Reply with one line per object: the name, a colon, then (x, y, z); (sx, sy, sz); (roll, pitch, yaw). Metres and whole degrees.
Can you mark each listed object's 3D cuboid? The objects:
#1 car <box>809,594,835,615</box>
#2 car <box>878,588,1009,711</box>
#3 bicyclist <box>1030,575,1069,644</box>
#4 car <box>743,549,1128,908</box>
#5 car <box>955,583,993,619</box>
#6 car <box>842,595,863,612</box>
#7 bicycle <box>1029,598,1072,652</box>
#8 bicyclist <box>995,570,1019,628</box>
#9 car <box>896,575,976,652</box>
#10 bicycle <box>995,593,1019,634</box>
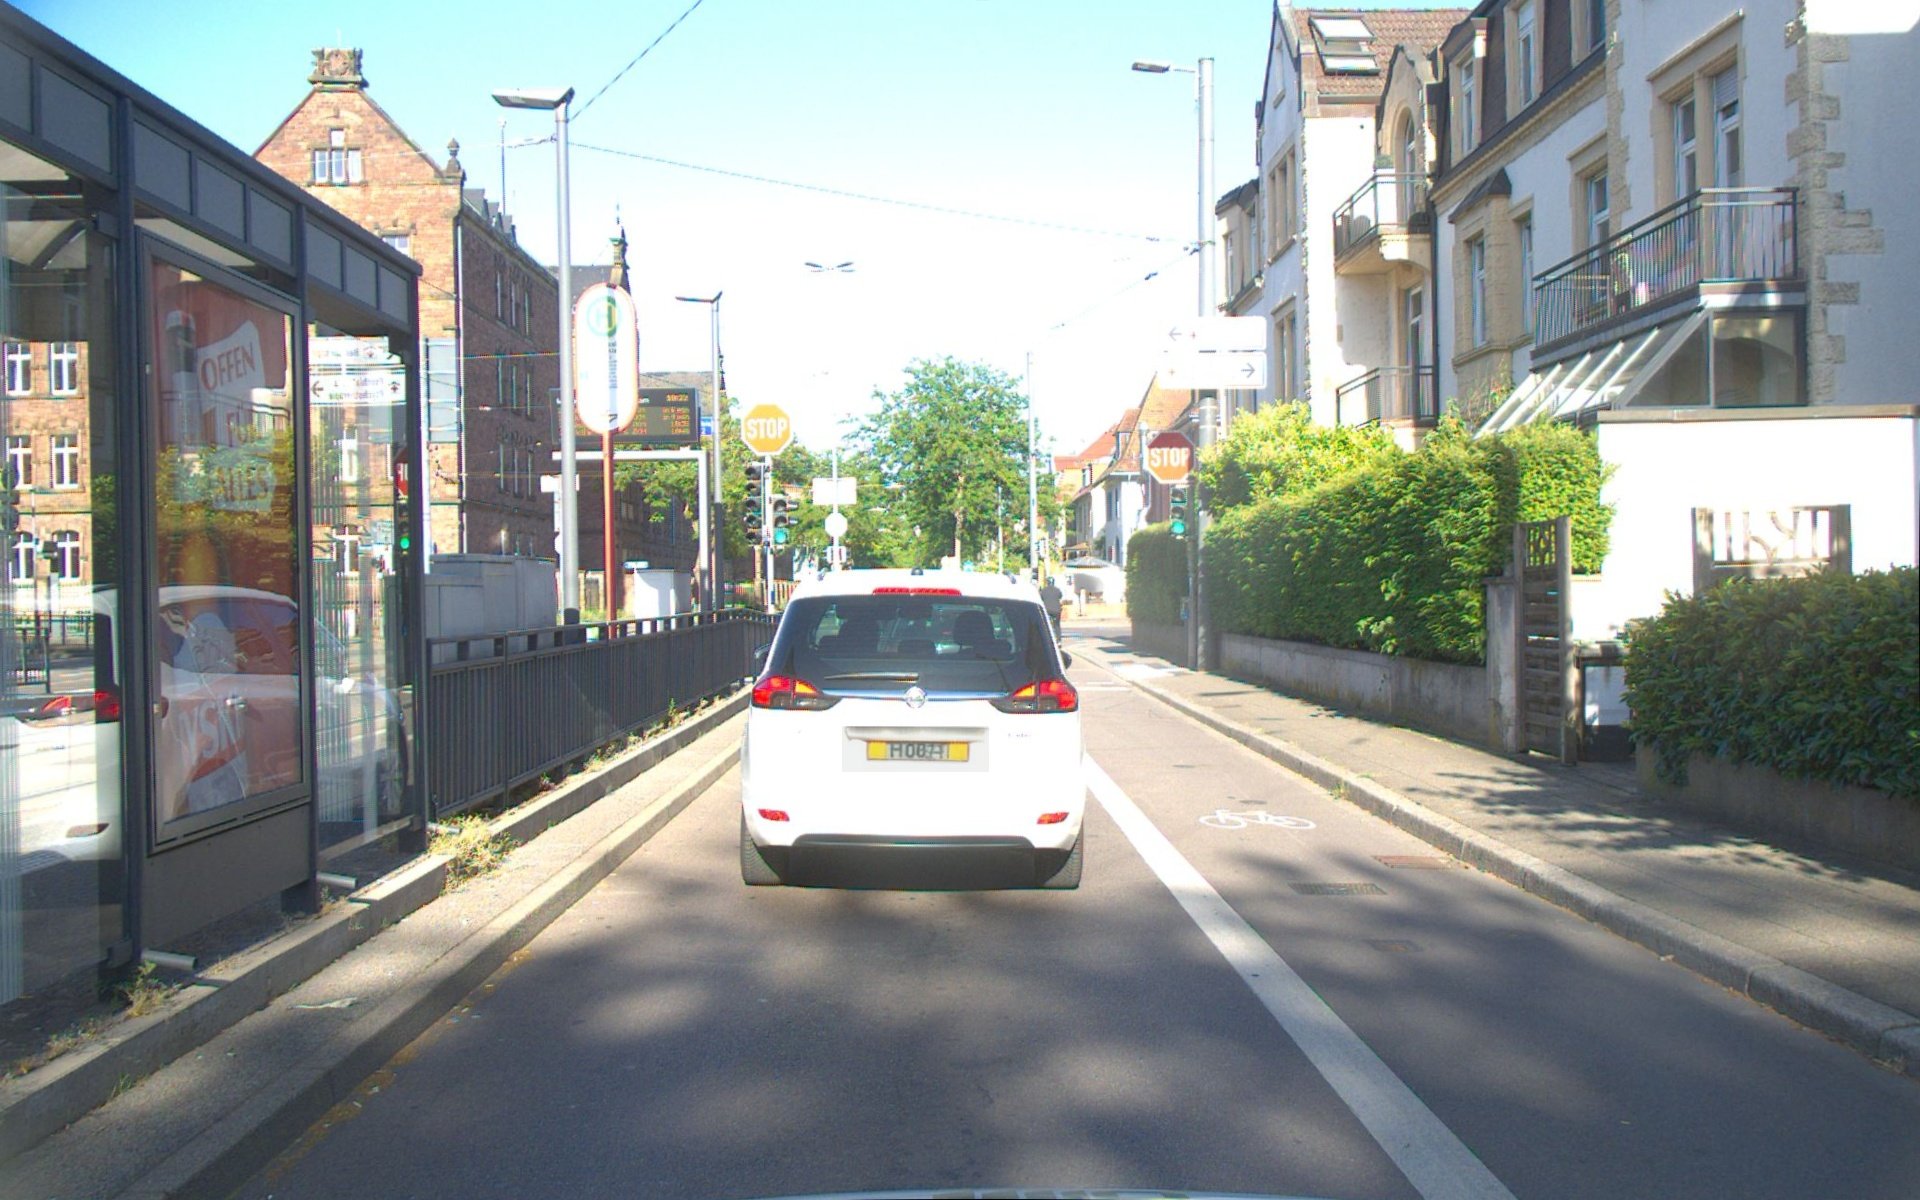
car: (-10.260, 0.327, 122.919); (1.548, 1.466, 3.585); (0, 0, 1)
car: (-0.161, 0.584, 21.985); (1.554, 1.445, 3.901); (-1, 1, 1)
bicyclist: (2.009, 0.219, 37.173); (0.804, 1.528, 0.934); (0, 0, -1)
car: (-0.118, 0.600, 9.718); (1.797, 1.670, 3.918); (0, 0, 0)
car: (0.696, 0.053, 79.413); (1.739, 1.660, 3.881); (0, 0, 2)
car: (-9.442, 0.318, 145.792); (1.548, 1.466, 3.585); (0, 0, 1)
bicycle: (2.017, 0.537, 37.205); (0.812, 1.175, 2.094); (0, 0, -1)
bicyclist: (1.369, -0.022, 48.240); (0.671, 1.663, 1.016); (0, 0, 2)
car: (-0.541, 0.298, 37.909); (1.740, 1.660, 3.880); (0, 0, -1)
bicycle: (1.368, 0.387, 48.181); (0.671, 1.177, 1.620); (0, 0, 2)
